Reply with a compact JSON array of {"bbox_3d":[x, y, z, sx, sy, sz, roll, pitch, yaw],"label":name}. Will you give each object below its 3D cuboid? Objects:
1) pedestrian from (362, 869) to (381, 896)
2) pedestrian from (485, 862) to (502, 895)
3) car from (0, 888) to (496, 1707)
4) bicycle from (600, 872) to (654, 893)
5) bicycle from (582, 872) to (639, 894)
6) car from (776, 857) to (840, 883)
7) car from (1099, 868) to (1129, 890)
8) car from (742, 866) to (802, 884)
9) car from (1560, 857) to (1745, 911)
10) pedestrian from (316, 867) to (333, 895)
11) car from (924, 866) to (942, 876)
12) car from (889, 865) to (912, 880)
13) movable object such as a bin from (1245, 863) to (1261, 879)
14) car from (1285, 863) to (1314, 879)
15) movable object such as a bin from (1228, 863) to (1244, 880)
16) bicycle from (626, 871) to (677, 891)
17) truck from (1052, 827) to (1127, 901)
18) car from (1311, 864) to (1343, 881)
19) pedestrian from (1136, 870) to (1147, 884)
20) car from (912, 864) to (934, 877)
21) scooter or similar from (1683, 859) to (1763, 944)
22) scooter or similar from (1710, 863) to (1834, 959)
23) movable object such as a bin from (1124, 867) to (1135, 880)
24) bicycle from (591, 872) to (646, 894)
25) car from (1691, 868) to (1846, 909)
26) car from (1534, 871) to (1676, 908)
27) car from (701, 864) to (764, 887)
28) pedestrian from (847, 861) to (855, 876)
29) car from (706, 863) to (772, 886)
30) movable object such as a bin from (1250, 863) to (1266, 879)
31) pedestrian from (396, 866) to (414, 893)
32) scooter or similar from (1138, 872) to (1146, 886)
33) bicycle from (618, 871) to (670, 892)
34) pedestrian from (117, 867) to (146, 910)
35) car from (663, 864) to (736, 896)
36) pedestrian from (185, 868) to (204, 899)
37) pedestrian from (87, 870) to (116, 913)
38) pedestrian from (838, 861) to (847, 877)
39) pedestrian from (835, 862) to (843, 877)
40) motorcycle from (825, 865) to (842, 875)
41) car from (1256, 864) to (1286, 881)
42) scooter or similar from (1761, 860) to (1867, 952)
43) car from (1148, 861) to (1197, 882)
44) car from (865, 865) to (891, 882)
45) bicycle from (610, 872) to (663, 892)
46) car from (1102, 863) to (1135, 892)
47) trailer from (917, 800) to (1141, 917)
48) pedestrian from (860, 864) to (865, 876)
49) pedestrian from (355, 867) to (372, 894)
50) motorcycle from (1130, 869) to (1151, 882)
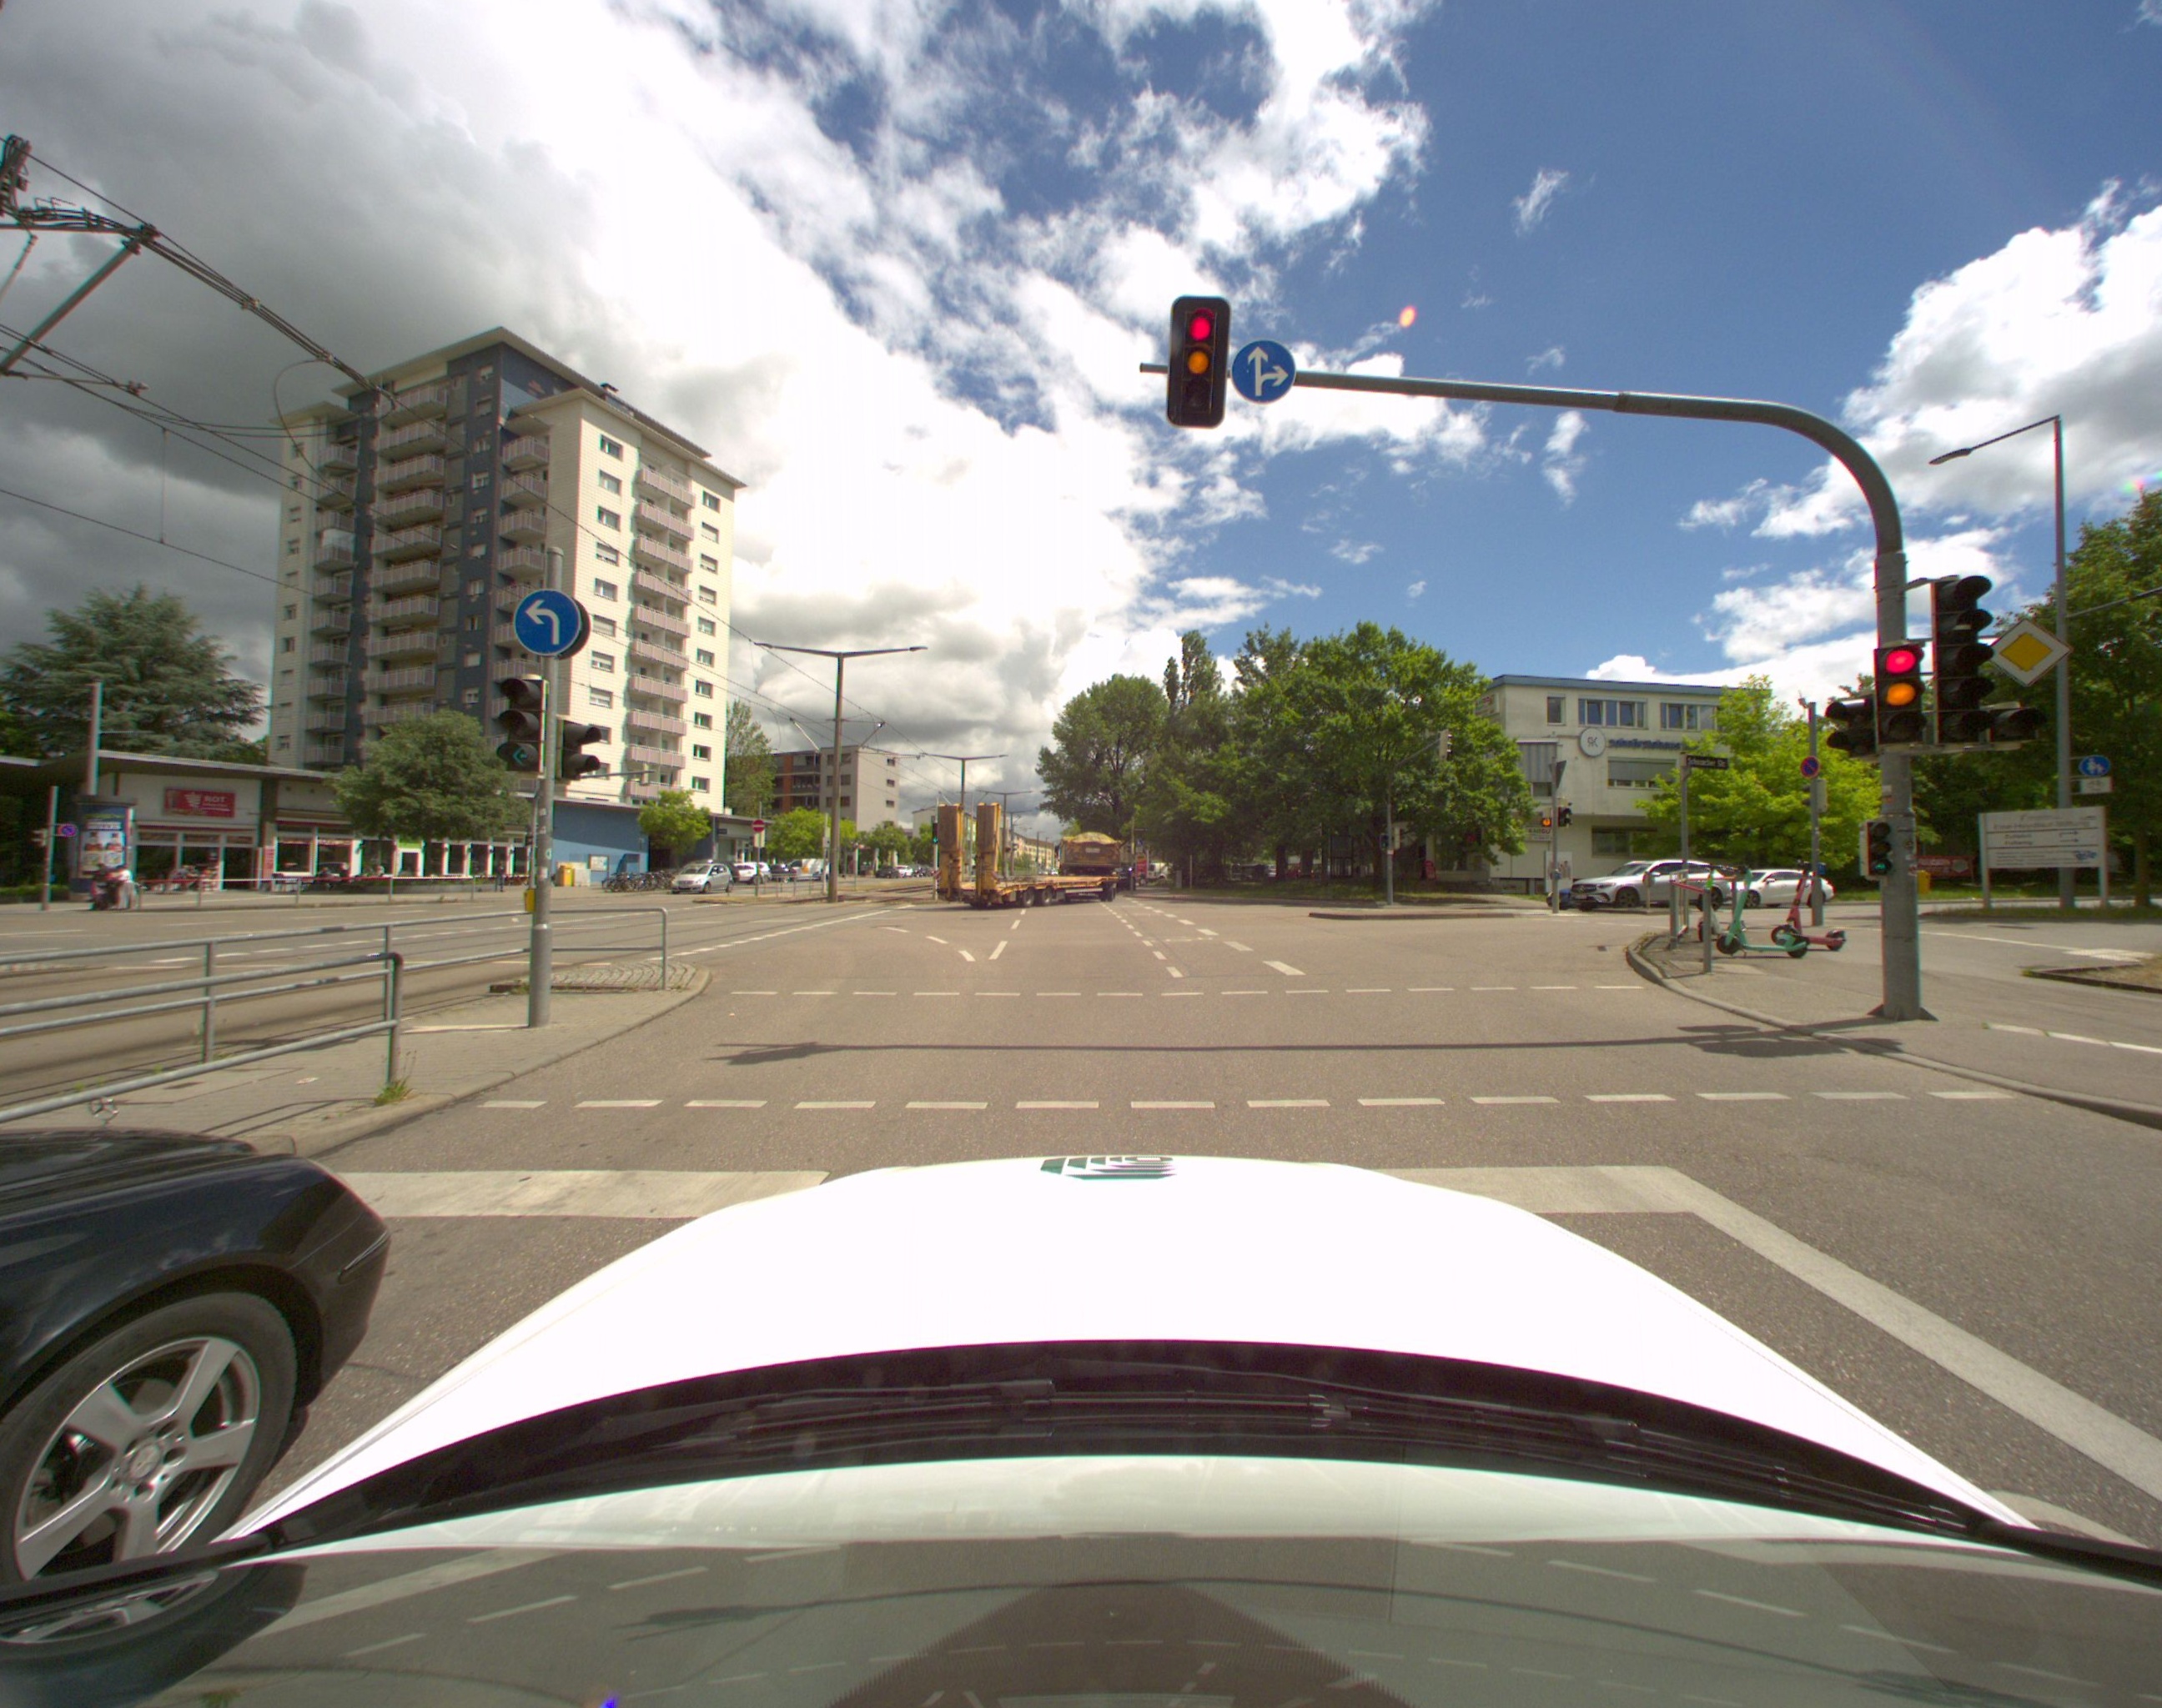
[{"bbox_3d":[-38.550,1.542,44.243,0.522,1.472,0.573,0,-1,3],"label":"pedestrian"},{"bbox_3d":[-29.982,1.232,41.581,0.415,1.643,0.600,0,-1,-2],"label":"pedestrian"},{"bbox_3d":[-2.859,0.791,0.149,1.963,1.398,4.678,0,0,3],"label":"car"},{"bbox_3d":[-23.524,1.471,42.221,2.419,1.066,0.705,0,-1,0],"label":"bicycle"},{"bbox_3d":[-23.528,1.459,40.712,2.419,1.066,0.705,0,-1,0],"label":"bicycle"},{"bbox_3d":[-22.942,1.319,68.594,4.788,2.157,1.883,0,-1,-42],"label":"car"},{"bbox_3d":[2.280,1.714,56.623,1.641,1.458,4.069,0,0,-4],"label":"car"},{"bbox_3d":[-24.267,1.633,64.094,4.022,1.383,1.883,0,-1,-42],"label":"car"},{"bbox_3d":[17.950,0.960,25.690,4.636,1.592,1.918,0,-3,-7],"label":"car"},{"bbox_3d":[-40.409,1.424,43.487,0.565,1.472,0.529,-1,-1,32],"label":"pedestrian"},{"bbox_3d":[-21.364,2.412,117.550,1.605,1.426,3.428,0,-1,6],"label":"car"},{"bbox_3d":[-21.564,2.152,97.546,1.989,1.663,4.095,1,0,-3],"label":"car"},{"bbox_3d":[15.910,1.555,75.233,1.113,1.430,1.284,0,-1,-4],"label":"movable object such as a bin"},{"bbox_3d":[20.545,1.613,76.750,1.737,1.443,4.001,0,0,1],"label":"car"},{"bbox_3d":[13.881,1.551,72.842,1.113,1.430,1.284,0,-1,-4],"label":"movable object such as a bin"},{"bbox_3d":[-23.538,1.490,44.616,2.419,1.066,0.705,0,-1,0],"label":"bicycle"},{"bbox_3d":[0.236,0.481,40.869,2.830,3.330,7.966,0,-1,-6],"label":"truck"},{"bbox_3d":[22.900,1.696,75.949,1.738,1.470,3.997,0,0,-1],"label":"car"},{"bbox_3d":[4.669,1.766,62.712,0.775,1.055,0.546,0,-1,-7],"label":"pedestrian"},{"bbox_3d":[-21.438,2.267,110.797,1.986,1.648,4.102,0,-1,2],"label":"car"},{"bbox_3d":[9.720,0.691,12.328,1.213,1.235,0.475,0,-1,-27],"label":"scooter or similar"},{"bbox_3d":[8.884,0.723,10.490,1.162,1.195,0.449,0,-1,5],"label":"scooter or similar"},{"bbox_3d":[5.404,2.155,90.766,1.095,1.439,0.760,0,-1,-3],"label":"movable object such as a bin"},{"bbox_3d":[-23.514,1.464,41.423,2.419,1.066,0.705,0,-1,0],"label":"bicycle"},{"bbox_3d":[25.299,1.268,30.035,4.387,1.415,1.945,0,-3,-9],"label":"car"},{"bbox_3d":[18.735,1.274,29.199,3.955,1.225,1.908,0,-3,-7],"label":"car"},{"bbox_3d":[-24.480,1.492,57.237,3.786,1.496,1.727,0,-1,-40],"label":"car"},{"bbox_3d":[-26.212,1.655,92.811,0.609,1.792,0.843,0,-1,-1],"label":"pedestrian"},{"bbox_3d":[-25.117,1.459,59.852,1.882,1.632,4.024,-1,-1,44],"label":"car"},{"bbox_3d":[16.006,1.554,73.749,1.113,1.430,1.284,0,-1,-4],"label":"movable object such as a bin"},{"bbox_3d":[-38.003,1.416,45.787,0.522,1.472,0.573,0,-1,3],"label":"pedestrian"},{"bbox_3d":[4.679,1.899,62.721,0.476,1.055,0.895,0,-1,-7],"label":"scooter or similar"},{"bbox_3d":[-23.518,1.484,43.860,2.419,1.066,0.705,0,-1,0],"label":"bicycle"},{"bbox_3d":[-33.287,1.199,28.547,0.512,1.472,0.529,-1,-1,26],"label":"pedestrian"},{"bbox_3d":[-19.816,1.316,42.471,1.810,1.533,3.758,0,-1,4],"label":"car"},{"bbox_3d":[-43.031,1.409,39.522,0.565,1.472,0.529,-1,-1,32],"label":"pedestrian"},{"bbox_3d":[-34.005,1.294,28.270,0.565,1.472,0.529,-1,-1,26],"label":"pedestrian"},{"bbox_3d":[-24.436,1.560,83.435,0.842,1.650,0.610,1,-1,-14],"label":"pedestrian"},{"bbox_3d":[-25.911,1.632,87.221,0.667,1.574,0.682,0,-1,-28],"label":"pedestrian"},{"bbox_3d":[-31.084,1.983,102.237,1.888,1.178,0.740,0,-1,-4],"label":"motorcycle"},{"bbox_3d":[17.754,1.709,76.235,1.933,1.490,4.001,0,0,1],"label":"car"},{"bbox_3d":[10.183,0.700,11.320,1.182,1.235,0.478,0,-1,-12],"label":"scooter or similar"},{"bbox_3d":[8.150,1.562,72.800,4.005,1.823,1.796,0,-1,-24],"label":"car"},{"bbox_3d":[-21.994,2.083,88.318,1.989,1.663,4.095,1,0,-3],"label":"car"},{"bbox_3d":[-23.513,1.478,43.104,2.419,1.066,0.705,0,-1,0],"label":"bicycle"},{"bbox_3d":[2.349,1.451,52.129,1.640,1.762,4.564,0,-1,-3],"label":"car"},{"bbox_3d":[-1.444,0.188,32.098,3.022,3.773,11.682,-1,-1,29],"label":"trailer"},{"bbox_3d":[-26.306,1.890,98.132,0.500,1.460,0.555,0,-1,-28],"label":"pedestrian"},{"bbox_3d":[-39.761,1.446,45.152,0.565,1.472,0.529,-1,-1,29],"label":"pedestrian"},{"bbox_3d":[5.578,2.025,76.574,1.803,1.210,0.706,0,-1,-24],"label":"motorcycle"}]
